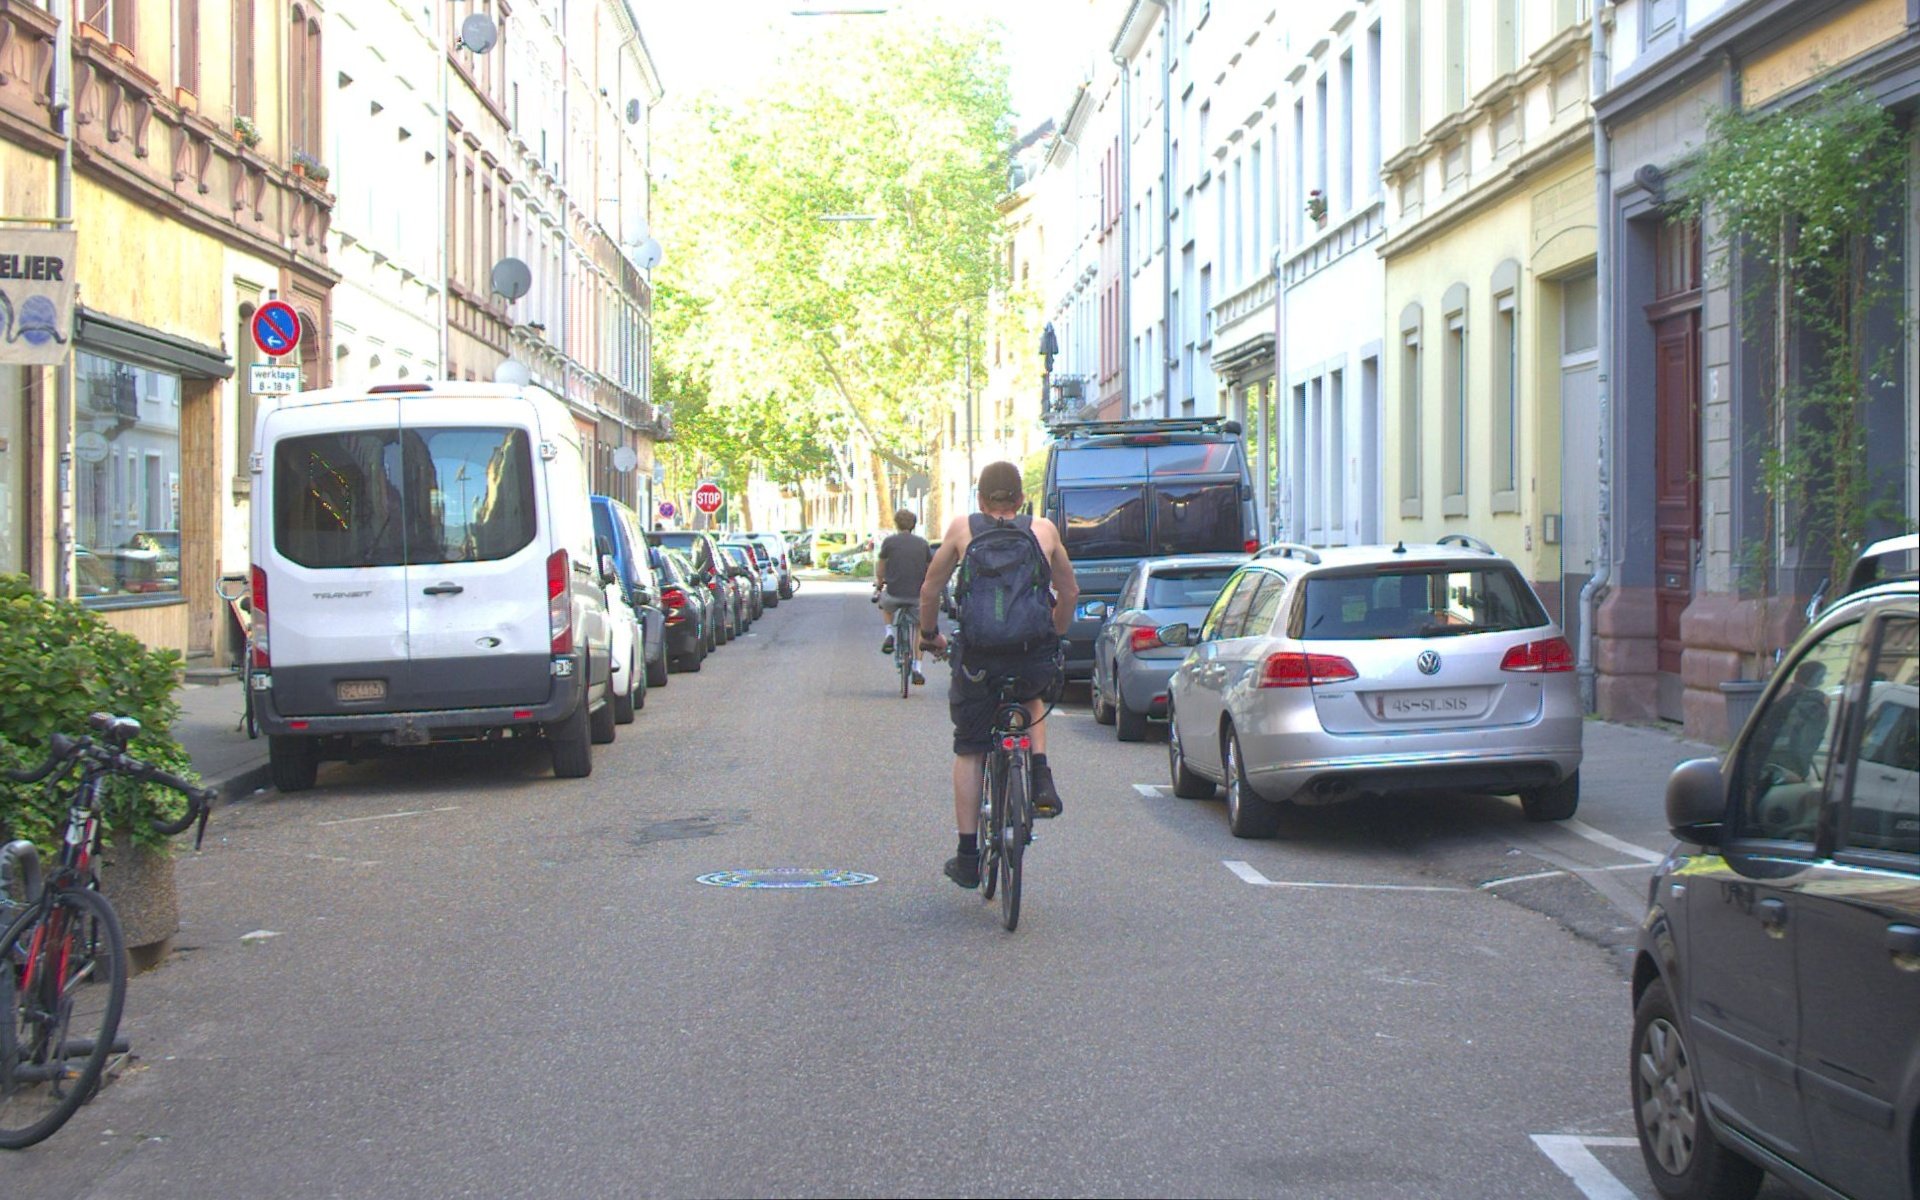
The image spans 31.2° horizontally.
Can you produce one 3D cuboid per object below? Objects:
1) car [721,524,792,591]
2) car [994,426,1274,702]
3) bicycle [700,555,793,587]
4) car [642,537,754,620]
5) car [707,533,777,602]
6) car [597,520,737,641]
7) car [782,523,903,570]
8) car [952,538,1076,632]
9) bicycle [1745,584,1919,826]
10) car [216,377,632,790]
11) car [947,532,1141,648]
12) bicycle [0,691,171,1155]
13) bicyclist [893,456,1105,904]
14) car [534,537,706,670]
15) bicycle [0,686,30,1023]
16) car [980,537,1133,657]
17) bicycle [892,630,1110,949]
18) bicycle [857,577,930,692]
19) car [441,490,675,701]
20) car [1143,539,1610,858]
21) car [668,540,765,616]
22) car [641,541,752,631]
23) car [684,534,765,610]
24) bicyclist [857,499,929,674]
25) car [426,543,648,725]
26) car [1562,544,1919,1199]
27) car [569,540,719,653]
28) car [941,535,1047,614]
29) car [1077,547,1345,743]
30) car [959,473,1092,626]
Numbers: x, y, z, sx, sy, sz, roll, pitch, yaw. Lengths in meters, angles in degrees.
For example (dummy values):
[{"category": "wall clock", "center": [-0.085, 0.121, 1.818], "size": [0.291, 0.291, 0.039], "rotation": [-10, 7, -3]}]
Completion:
[{"category": "car", "center": [-5.403, -1.142, 91.632], "size": [1.787, 1.731, 3.876], "rotation": [-1, 1, -2]}, {"category": "car", "center": [1.601, -0.387, 34.047], "size": [2.175, 2.417, 6.310], "rotation": [-2, 1, -2]}, {"category": "bicycle", "center": [-6.295, -0.858, 101.181], "size": [2.715, 0.889, 0.619], "rotation": [-1, 1, -4]}, {"category": "car", "center": [-4.691, -0.404, 62.048], "size": [1.674, 1.425, 3.888], "rotation": [-1, 1, 1]}, {"category": "car", "center": [-5.060, -0.770, 79.437], "size": [1.544, 1.545, 3.466], "rotation": [-1, 1, -5]}, {"category": "car", "center": [-4.398, -0.323, 52.095], "size": [1.801, 1.692, 4.000], "rotation": [-2, 1, -1]}, {"category": "car", "center": [-4.496, -2.037, 130.697], "size": [4.468, 1.753, 1.867], "rotation": [-1, 1, -6]}, {"category": "car", "center": [0.826, -0.266, 55.154], "size": [1.725, 1.424, 3.833], "rotation": [-1, 1, -3]}, {"category": "bicycle", "center": [4.576, 0.490, 17.169], "size": [0.710, 1.093, 1.901], "rotation": [-3, 1, -4]}, {"category": "car", "center": [-3.517, -0.160, 23.737], "size": [2.168, 2.443, 5.922], "rotation": [-2, 1, -3]}, {"category": "car", "center": [1.171, -0.186, 50.108], "size": [1.811, 1.473, 4.610], "rotation": [-4, 2, -11]}, {"category": "bicycle", "center": [-2.438, 0.811, 9.242], "size": [0.460, 1.044, 1.751], "rotation": [1, 1, -17]}, {"category": "bicyclist", "center": [0.137, 0.293, 13.550], "size": [0.740, 1.673, 1.117], "rotation": [1, 1, -2]}, {"category": "car", "center": [-4.001, -0.005, 41.082], "size": [1.861, 1.435, 4.646], "rotation": [-1, 2, -4]}, {"category": "bicycle", "center": [-3.185, 0.818, 10.291], "size": [0.442, 1.044, 1.865], "rotation": [1, 1, -5]}, {"category": "car", "center": [1.223, -0.077, 45.325], "size": [1.746, 1.480, 4.243], "rotation": [-1, 1, -2]}, {"category": "bicycle", "center": [0.129, 0.703, 13.593], "size": [0.740, 1.097, 2.042], "rotation": [1, 1, -2]}, {"category": "bicycle", "center": [-0.644, 0.313, 32.954], "size": [0.664, 1.034, 1.959], "rotation": [-1, 1, -1]}, {"category": "car", "center": [-3.939, -0.089, 34.385], "size": [1.827, 1.885, 4.614], "rotation": [-3, 1, -1]}, {"category": "car", "center": [2.144, 0.435, 18.954], "size": [1.786, 1.449, 4.548], "rotation": [-3, 1, -2]}, {"category": "car", "center": [-4.720, -0.459, 67.108], "size": [1.706, 1.409, 4.302], "rotation": [-1, 1, -2]}, {"category": "car", "center": [-4.349, -0.256, 57.078], "size": [1.592, 1.435, 3.654], "rotation": [-1, 1, -1]}, {"category": "car", "center": [-4.921, -0.609, 72.064], "size": [1.604, 1.525, 3.379], "rotation": [-2, 1, -3]}, {"category": "bicyclist", "center": [-0.646, -0.135, 32.954], "size": [0.669, 1.653, 0.877], "rotation": [-1, 1, -1]}, {"category": "car", "center": [-3.602, 0.241, 29.800], "size": [1.645, 1.442, 3.840], "rotation": [-1, 1, -3]}, {"category": "car", "center": [2.345, 0.662, 6.830], "size": [1.602, 1.534, 3.450], "rotation": [-2, 1, -1]}, {"category": "car", "center": [-4.200, -0.075, 46.141], "size": [1.736, 1.422, 4.000], "rotation": [-1, 1, -1]}, {"category": "car", "center": [0.627, -0.522, 67.124], "size": [1.731, 1.465, 4.022], "rotation": [-1, 1, -4]}, {"category": "car", "center": [1.950, 0.308, 27.785], "size": [1.747, 1.439, 4.172], "rotation": [0, 1, -2]}, {"category": "car", "center": [1.115, -0.911, 60.595], "size": [2.204, 2.542, 6.036], "rotation": [-1, 1, 1]}]
